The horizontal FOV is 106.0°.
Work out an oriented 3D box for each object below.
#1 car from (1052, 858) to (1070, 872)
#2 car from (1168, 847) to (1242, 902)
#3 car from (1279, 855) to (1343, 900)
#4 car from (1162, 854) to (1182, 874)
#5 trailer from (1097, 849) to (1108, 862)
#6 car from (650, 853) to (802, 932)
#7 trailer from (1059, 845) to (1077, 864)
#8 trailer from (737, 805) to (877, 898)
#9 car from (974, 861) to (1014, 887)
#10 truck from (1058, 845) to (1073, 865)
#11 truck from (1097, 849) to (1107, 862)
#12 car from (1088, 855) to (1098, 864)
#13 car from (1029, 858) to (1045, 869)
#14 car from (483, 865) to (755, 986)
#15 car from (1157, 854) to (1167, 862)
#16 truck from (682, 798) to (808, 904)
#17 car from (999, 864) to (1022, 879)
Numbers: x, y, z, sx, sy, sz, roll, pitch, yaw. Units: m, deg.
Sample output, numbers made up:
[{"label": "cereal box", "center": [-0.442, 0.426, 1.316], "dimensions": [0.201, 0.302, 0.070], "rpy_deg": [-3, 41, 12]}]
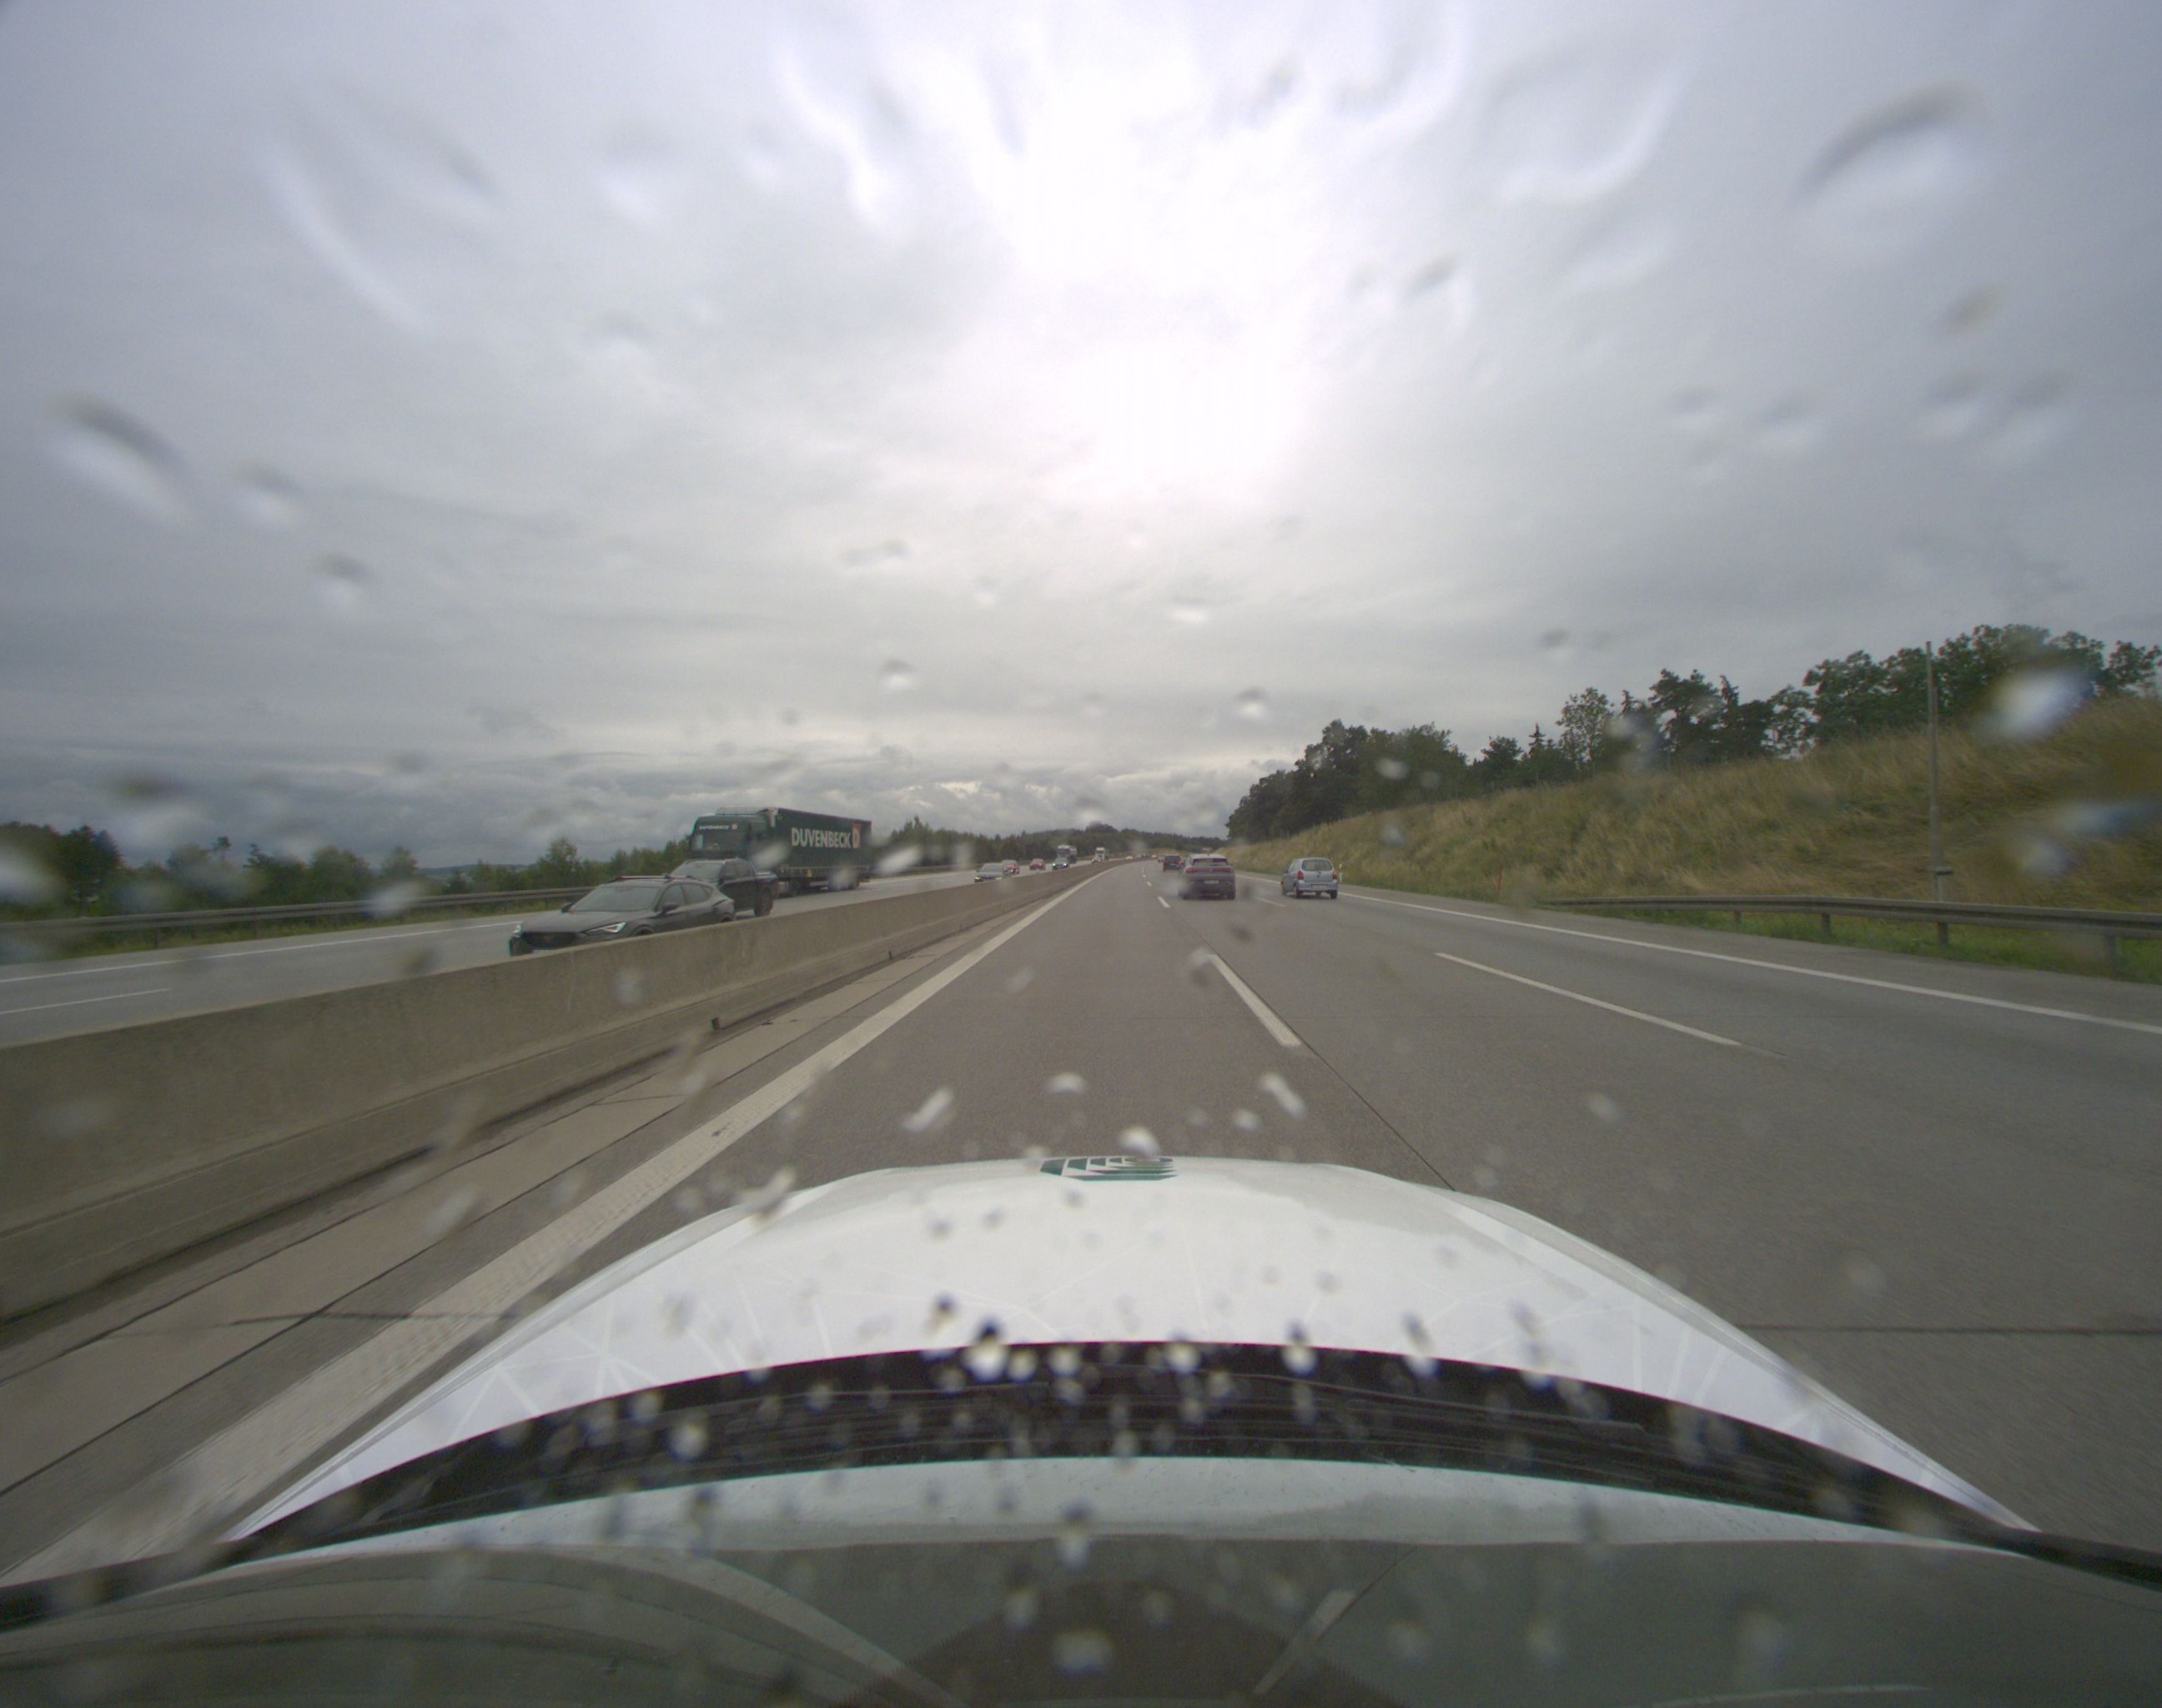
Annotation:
[{"label": "car", "center": [-2.400, 1.326, 99.269], "dimensions": [1.715, 1.587, 4.976], "rpy_deg": [-2, 1, 3]}, {"label": "car", "center": [4.466, 0.679, 30.138], "dimensions": [1.891, 1.689, 5.267], "rpy_deg": [-3, 1, 1]}, {"label": "car", "center": [8.357, 0.800, 29.818], "dimensions": [1.480, 1.470, 3.506], "rpy_deg": [-1, 1, 2]}, {"label": "car", "center": [9.052, 0.958, 81.001], "dimensions": [1.777, 1.746, 3.920], "rpy_deg": [-3, 1, 4]}, {"label": "trailer", "center": [6.781, 0.374, 250.357], "dimensions": [2.736, 3.800, 9.330], "rpy_deg": [0, 0, 5]}, {"label": "car", "center": [-10.703, 1.048, 25.096], "dimensions": [1.985, 1.973, 5.335], "rpy_deg": [-3, 1, 3]}, {"label": "trailer", "center": [-2.785, 0.018, 178.934], "dimensions": [2.746, 3.998, 12.304], "rpy_deg": [0, 1, 4]}, {"label": "trailer", "center": [-14.223, -0.229, 43.846], "dimensions": [2.753, 4.281, 12.179], "rpy_deg": [0, 1, 3]}, {"label": "car", "center": [-5.302, 1.191, 50.033], "dimensions": [1.765, 1.357, 4.369], "rpy_deg": [-3, 1, 2]}, {"label": "truck", "center": [-3.257, 0.148, 172.256], "dimensions": [2.735, 3.998, 6.937], "rpy_deg": [0, 1, 3]}, {"label": "truck", "center": [6.329, 0.388, 245.774], "dimensions": [2.736, 3.802, 5.540], "rpy_deg": [0, -1, 6]}, {"label": "car", "center": [2.304, 1.035, 155.944], "dimensions": [1.784, 1.417, 4.347], "rpy_deg": [-1, 1, 4]}, {"label": "car", "center": [-5.747, 1.236, 106.350], "dimensions": [1.512, 1.393, 4.490], "rpy_deg": [0, 0, 3]}, {"label": "car", "center": [-7.588, 1.071, 14.022], "dimensions": [1.986, 1.519, 4.399], "rpy_deg": [-3, 1, 1]}, {"label": "car", "center": [18.467, 0.907, 185.978], "dimensions": [1.830, 1.500, 4.011], "rpy_deg": [-3, 1, 10]}, {"label": "truck", "center": [-14.616, -0.173, 35.989], "dimensions": [2.777, 4.262, 6.055], "rpy_deg": [0, 1, 3]}, {"label": "car", "center": [-7.213, 1.787, 83.891], "dimensions": [1.710, 1.508, 4.490], "rpy_deg": [-2, -1, 3]}]
